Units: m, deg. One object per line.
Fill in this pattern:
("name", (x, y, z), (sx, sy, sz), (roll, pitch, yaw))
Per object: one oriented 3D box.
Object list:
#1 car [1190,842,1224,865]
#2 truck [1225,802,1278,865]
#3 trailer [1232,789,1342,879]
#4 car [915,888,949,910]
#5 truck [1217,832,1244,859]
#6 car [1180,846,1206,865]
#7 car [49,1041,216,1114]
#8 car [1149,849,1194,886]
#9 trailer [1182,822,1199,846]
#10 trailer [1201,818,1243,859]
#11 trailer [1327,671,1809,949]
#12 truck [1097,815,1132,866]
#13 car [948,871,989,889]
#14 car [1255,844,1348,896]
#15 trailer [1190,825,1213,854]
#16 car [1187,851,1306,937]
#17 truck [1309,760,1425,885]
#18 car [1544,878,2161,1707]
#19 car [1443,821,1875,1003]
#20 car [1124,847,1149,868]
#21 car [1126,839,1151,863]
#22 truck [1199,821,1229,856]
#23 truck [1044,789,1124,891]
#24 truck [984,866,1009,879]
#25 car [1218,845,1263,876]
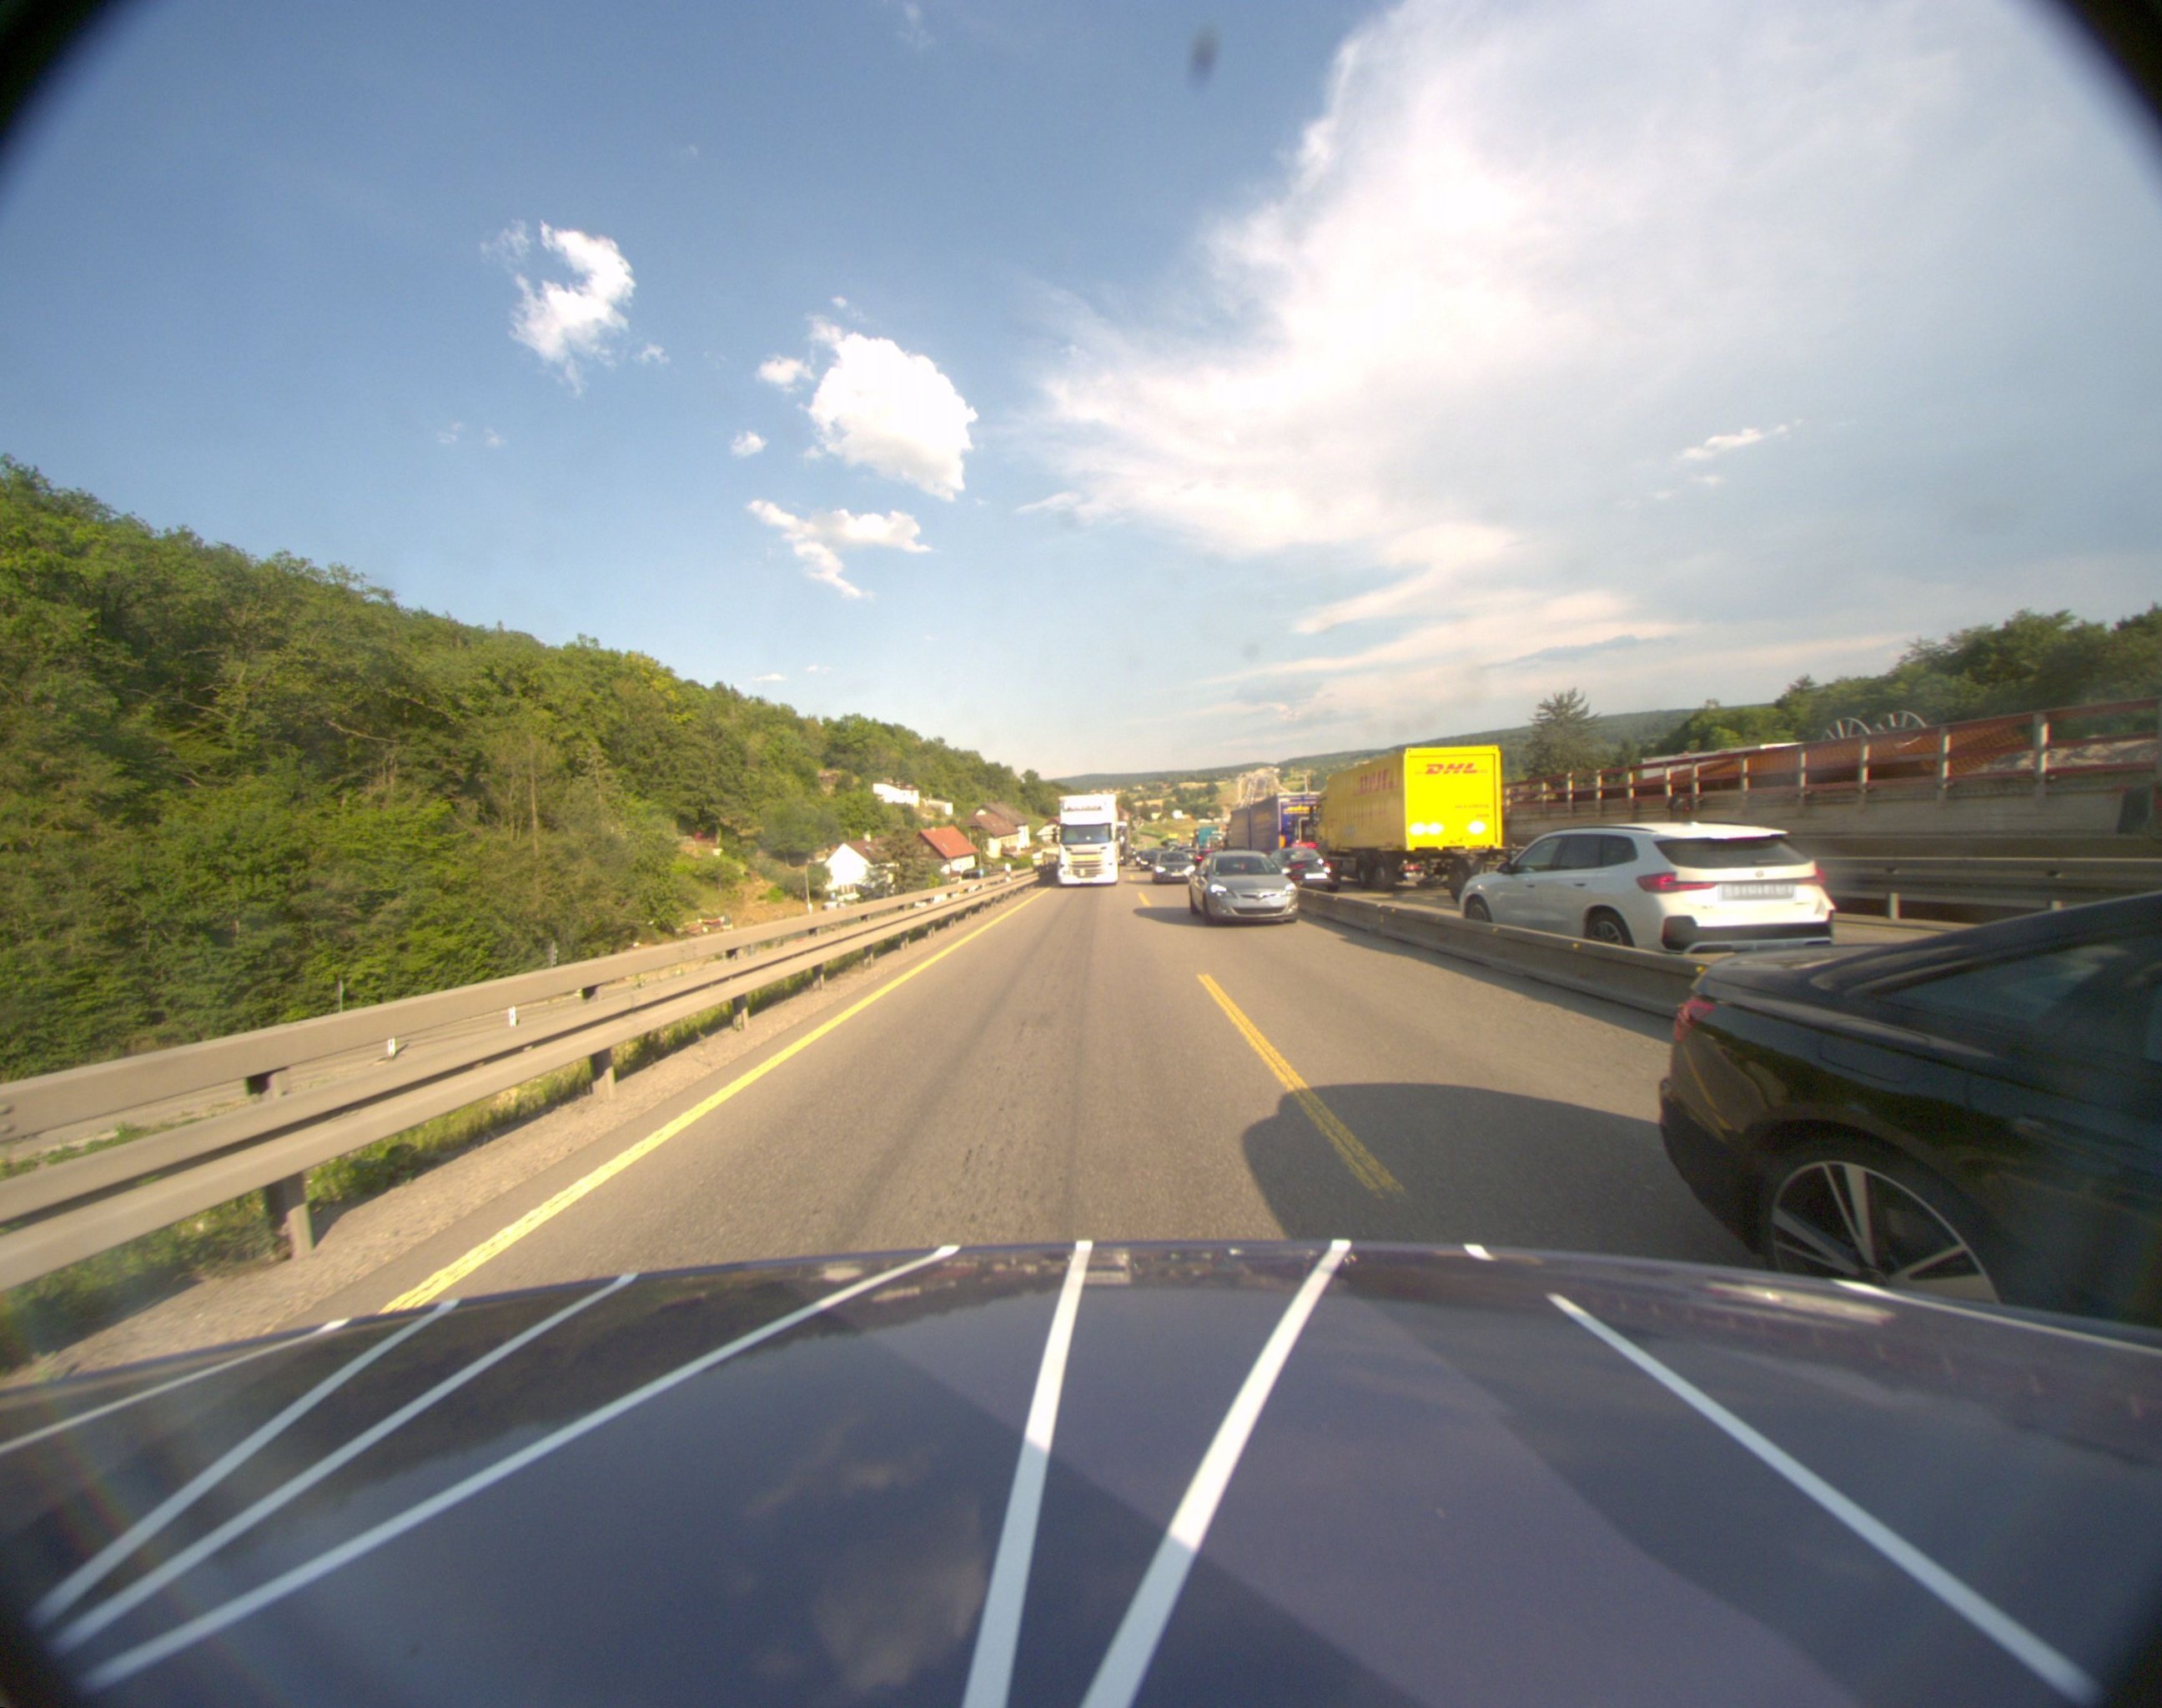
("car", (8.724, -0.047, 53.071), (1.801, 1.445, 4.615), (-1, 2, 3))
("truck", (11.850, -1.462, 53.316), (2.707, 4.117, 5.794), (-1, 2, 4))
("trailer", (11.263, -1.176, 43.707), (2.721, 4.111, 16.751), (-1, 2, 4))
("car", (-17.372, 5.261, 88.983), (1.865, 1.975, 5.054), (-1, 4, 14))
("truck", (23.763, -1.402, 121.481), (3.165, 4.099, 12.495), (0, 1, 6))
("car", (9.676, 0.080, 65.961), (1.792, 1.489, 4.724), (-1, 2, 4))
("car", (-36.345, 8.494, 29.226), (1.769, 1.589, 3.622), (-4, 1, 27))
("car", (4.007, 0.550, 33.663), (1.822, 1.433, 4.001), (-3, 1, 7))
("trailer", (21.361, -3.942, 148.413), (2.917, 4.440, 7.154), (-2, 1, 7))
("trailer", (14.332, -1.601, 78.420), (2.755, 3.794, 16.049), (0, 1, 5))
("trailer", (10.007, -0.885, 19.584), (2.707, 4.180, 15.995), (-1, 2, 2))
("truck", (3.356, -1.240, 73.551), (2.787, 4.505, 7.192), (-3, 0, 5))
("car", (-16.387, 3.796, 110.677), (5.475, 2.251, 2.001), (-3, 3, 14))
("car", (7.031, 0.444, 24.725), (1.744, 1.394, 4.902), (-1, 2, 2))
("trailer", (18.120, -2.253, 114.916), (2.720, 4.099, 12.495), (0, 1, 6))
("car", (3.319, 0.733, 15.982), (1.810, 1.478, 4.118), (-2, 1, 3))
("truck", (10.347, -1.128, 27.897), (2.700, 4.173, 4.397), (-1, 2, 2))
("car", (2.745, 0.906, 0.467), (1.945, 1.472, 5.221), (-1, 1, 3))
("car", (6.338, 0.479, 9.204), (1.850, 1.638, 4.559), (-1, 1, 2))
("car", (4.583, 0.273, 63.278), (1.998, 1.565, 3.999), (-1, 2, 3))
("car", (5.063, -0.283, 67.276), (1.998, 2.002, 3.999), (-1, 2, 3))
("truck", (15.040, -1.786, 86.476), (2.755, 3.784, 7.112), (0, 1, 5))
("truck", (0.514, -0.770, 37.531), (2.891, 4.060, 13.893), (-1, 2, 4))
("truck", (-13.494, 3.011, 120.929), (2.002, 1.729, 3.990), (-11, 5, -35))
("car", (8.537, 0.294, 41.066), (1.720, 1.499, 4.291), (-1, 2, 3))
